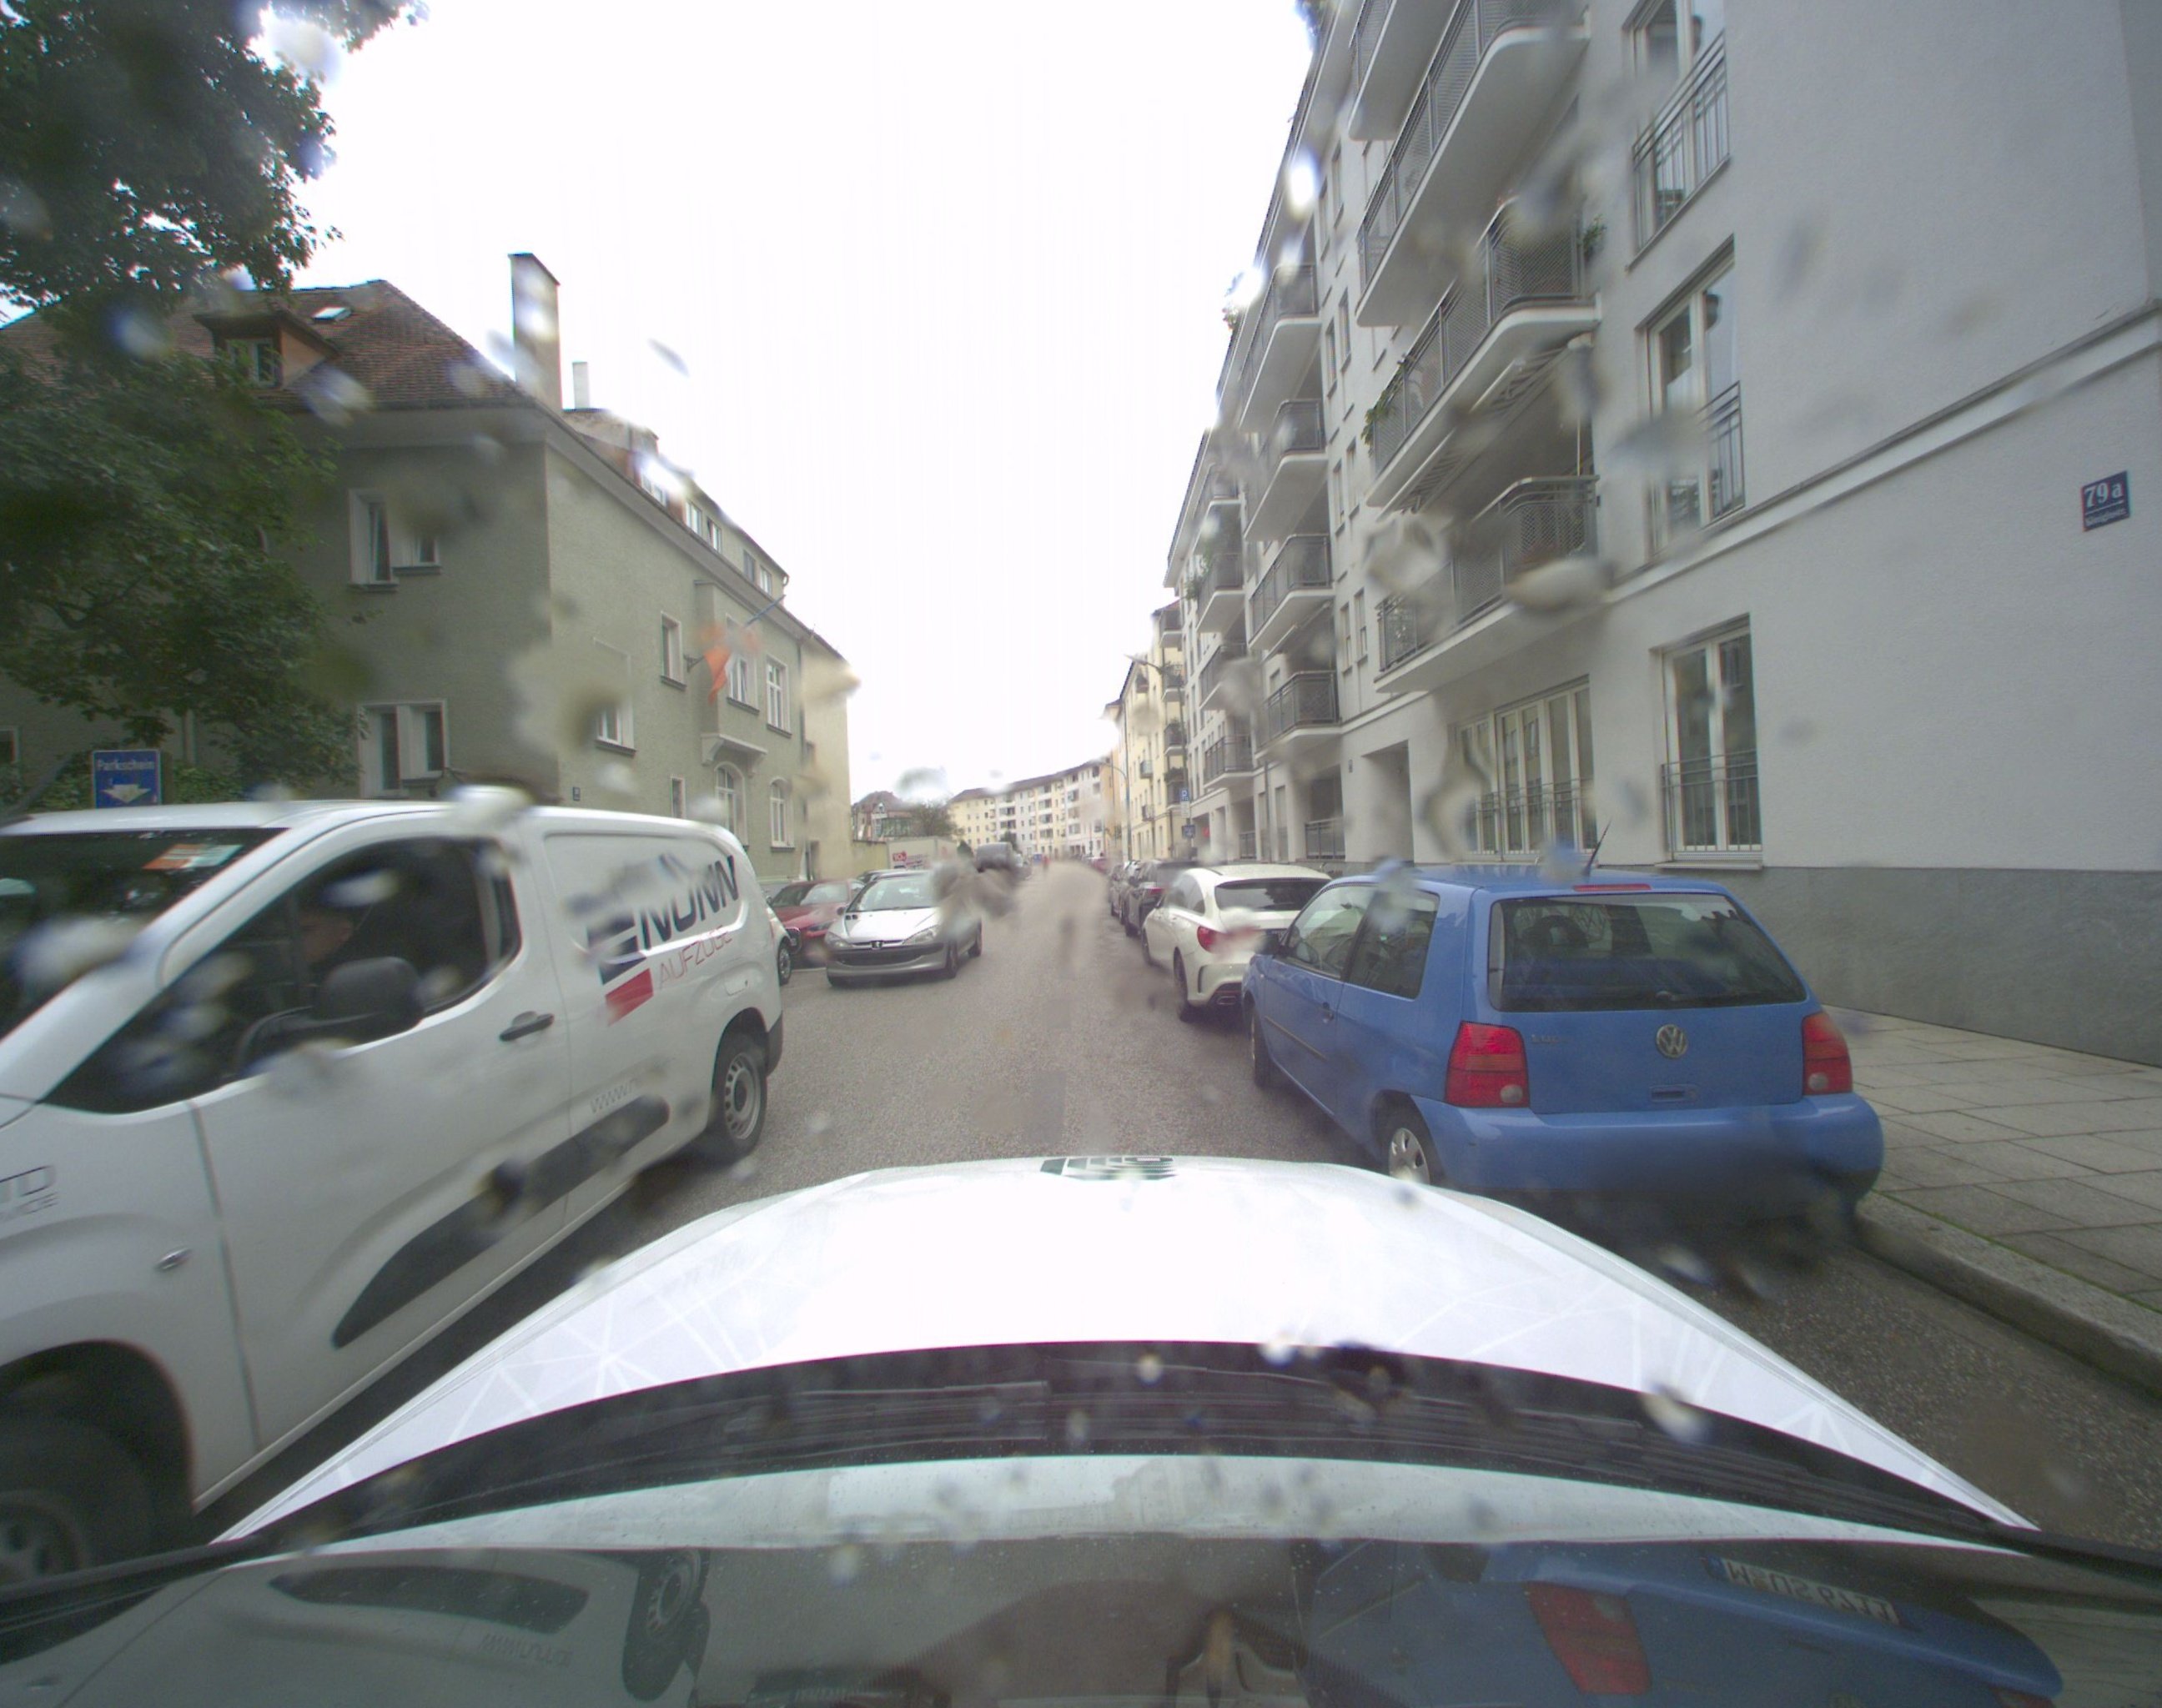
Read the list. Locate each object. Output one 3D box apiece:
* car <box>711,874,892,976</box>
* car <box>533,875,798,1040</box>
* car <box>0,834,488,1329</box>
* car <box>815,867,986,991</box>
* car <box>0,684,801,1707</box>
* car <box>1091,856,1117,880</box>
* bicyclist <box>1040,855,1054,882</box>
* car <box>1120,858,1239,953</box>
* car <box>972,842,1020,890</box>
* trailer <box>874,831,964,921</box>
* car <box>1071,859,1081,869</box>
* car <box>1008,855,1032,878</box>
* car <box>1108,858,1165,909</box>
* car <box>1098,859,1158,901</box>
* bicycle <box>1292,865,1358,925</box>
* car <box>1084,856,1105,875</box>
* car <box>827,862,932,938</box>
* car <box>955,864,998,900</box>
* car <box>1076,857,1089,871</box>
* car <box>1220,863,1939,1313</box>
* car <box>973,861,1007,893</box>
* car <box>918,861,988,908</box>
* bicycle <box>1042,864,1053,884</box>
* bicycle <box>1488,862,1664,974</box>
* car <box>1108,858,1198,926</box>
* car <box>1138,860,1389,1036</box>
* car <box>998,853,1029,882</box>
[{"bbox_3d":[-4.869,1.167,14.889,1.856,1.412,4.330,-4,-1,-2],"label":"car"},{"bbox_3d":[-4.698,1.069,9.749,1.470,1.466,3.311,-4,0,-2],"label":"car"},{"bbox_3d":[-4.837,0.885,3.375,1.685,1.803,4.142,-4,0,-2],"label":"car"},{"bbox_3d":[-2.402,0.942,11.720,1.576,1.411,3.612,-3,-1,0],"label":"car"},{"bbox_3d":[-2.578,0.685,2.776,1.767,1.803,4.567,-3,0,-3],"label":"car"},{"bbox_3d":[1.509,0.912,54.434,1.590,1.509,3.799,-3,0,-1],"label":"car"},{"bbox_3d":[-2.050,0.851,48.852,0.691,1.561,0.967,-4,0,2],"label":"bicyclist"},{"bbox_3d":[1.691,0.838,15.103,1.599,1.530,3.981,0,0,-2],"label":"car"},{"bbox_3d":[-4.966,0.649,48.323,2.081,2.636,5.377,-3,0,1],"label":"car"},{"bbox_3d":[-4.959,0.638,25.563,1.703,2.461,4.387,-4,0,1],"label":"trailer"},{"bbox_3d":[-0.735,1.301,111.002,1.269,1.299,2.795,-2,0,-2],"label":"car"},{"bbox_3d":[-5.086,1.012,68.067,1.697,1.691,4.025,-4,0,-2],"label":"car"},{"bbox_3d":[1.735,0.918,26.528,1.515,1.530,3.524,-1,0,-1],"label":"car"},{"bbox_3d":[1.712,0.944,30.638,1.759,1.408,4.073,-2,-1,-3],"label":"car"},{"bbox_3d":[5.174,0.841,17.389,0.626,1.160,2.125,-3,0,-3],"label":"bicycle"},{"bbox_3d":[1.118,0.988,70.274,1.595,1.491,3.796,-2,0,-2],"label":"car"},{"bbox_3d":[-5.008,1.072,20.730,1.682,1.603,3.918,-4,0,-2],"label":"car"},{"bbox_3d":[-4.836,1.265,38.123,1.697,1.445,3.820,-2,0,-3],"label":"car"},{"bbox_3d":[0.141,1.236,99.294,1.470,1.641,3.997,-1,0,-2],"label":"car"},{"bbox_3d":[1.930,0.762,4.406,1.615,1.412,3.550,0,-1,-3],"label":"car"},{"bbox_3d":[-4.769,1.170,42.839,1.583,1.538,3.537,-3,0,-5],"label":"car"},{"bbox_3d":[-4.866,1.129,31.618,1.760,1.538,4.542,-4,-1,2],"label":"car"},{"bbox_3d":[-2.005,1.177,48.828,0.502,1.128,1.774,-4,0,2],"label":"bicycle"},{"bbox_3d":[5.177,0.638,8.683,0.675,1.028,1.833,-3,-2,-2],"label":"bicycle"},{"bbox_3d":[1.699,0.869,20.674,1.729,1.530,4.618,0,0,-2],"label":"car"},{"bbox_3d":[1.660,0.785,8.819,1.654,1.440,4.203,0,0,-2],"label":"car"},{"bbox_3d":[-4.998,0.938,60.835,1.877,1.931,4.599,-4,0,-1],"label":"car"}]
